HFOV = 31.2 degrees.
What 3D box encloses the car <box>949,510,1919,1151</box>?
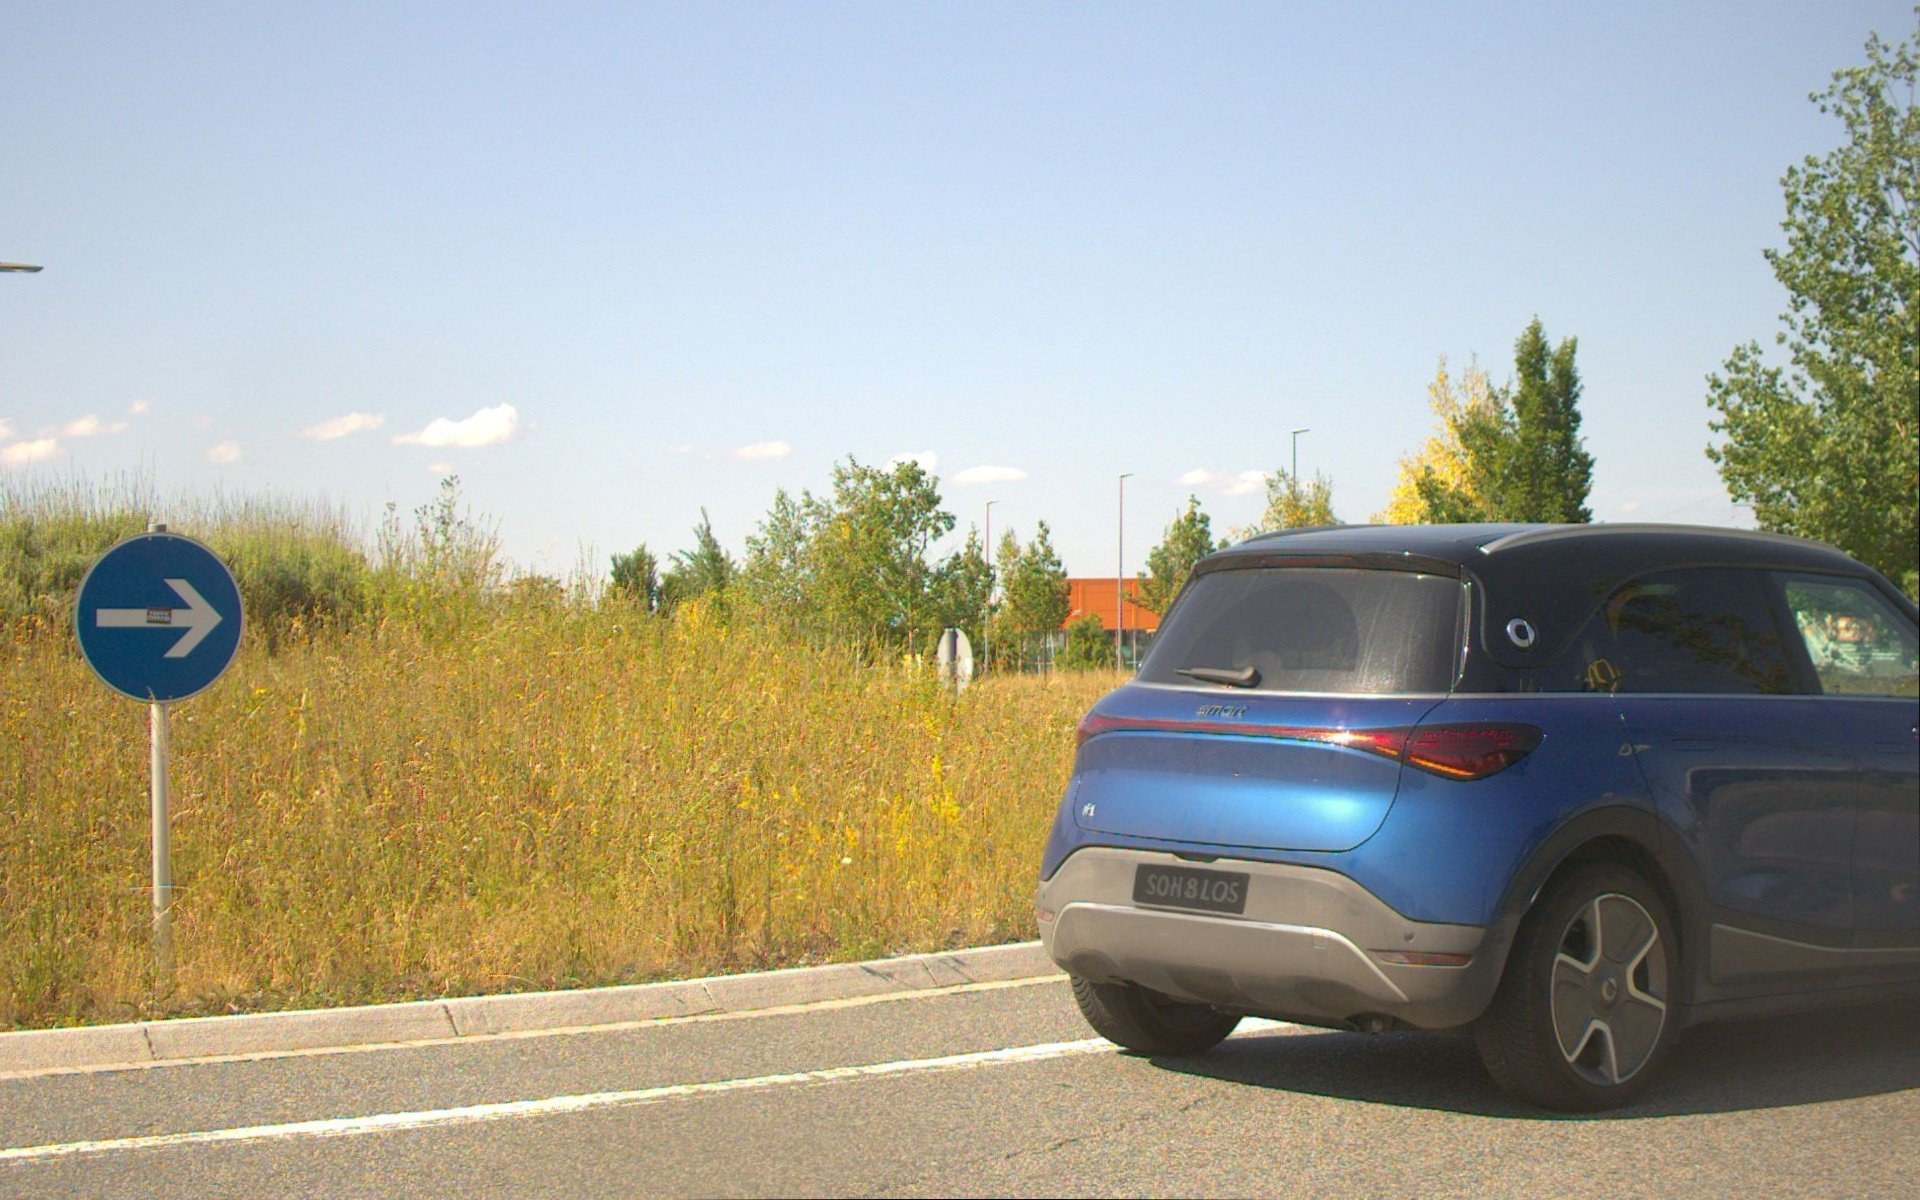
[{"bbox_3d":[2.115,0.561,10.778,4.068,1.630,1.856,-1,1,-41],"label":"car"}]
